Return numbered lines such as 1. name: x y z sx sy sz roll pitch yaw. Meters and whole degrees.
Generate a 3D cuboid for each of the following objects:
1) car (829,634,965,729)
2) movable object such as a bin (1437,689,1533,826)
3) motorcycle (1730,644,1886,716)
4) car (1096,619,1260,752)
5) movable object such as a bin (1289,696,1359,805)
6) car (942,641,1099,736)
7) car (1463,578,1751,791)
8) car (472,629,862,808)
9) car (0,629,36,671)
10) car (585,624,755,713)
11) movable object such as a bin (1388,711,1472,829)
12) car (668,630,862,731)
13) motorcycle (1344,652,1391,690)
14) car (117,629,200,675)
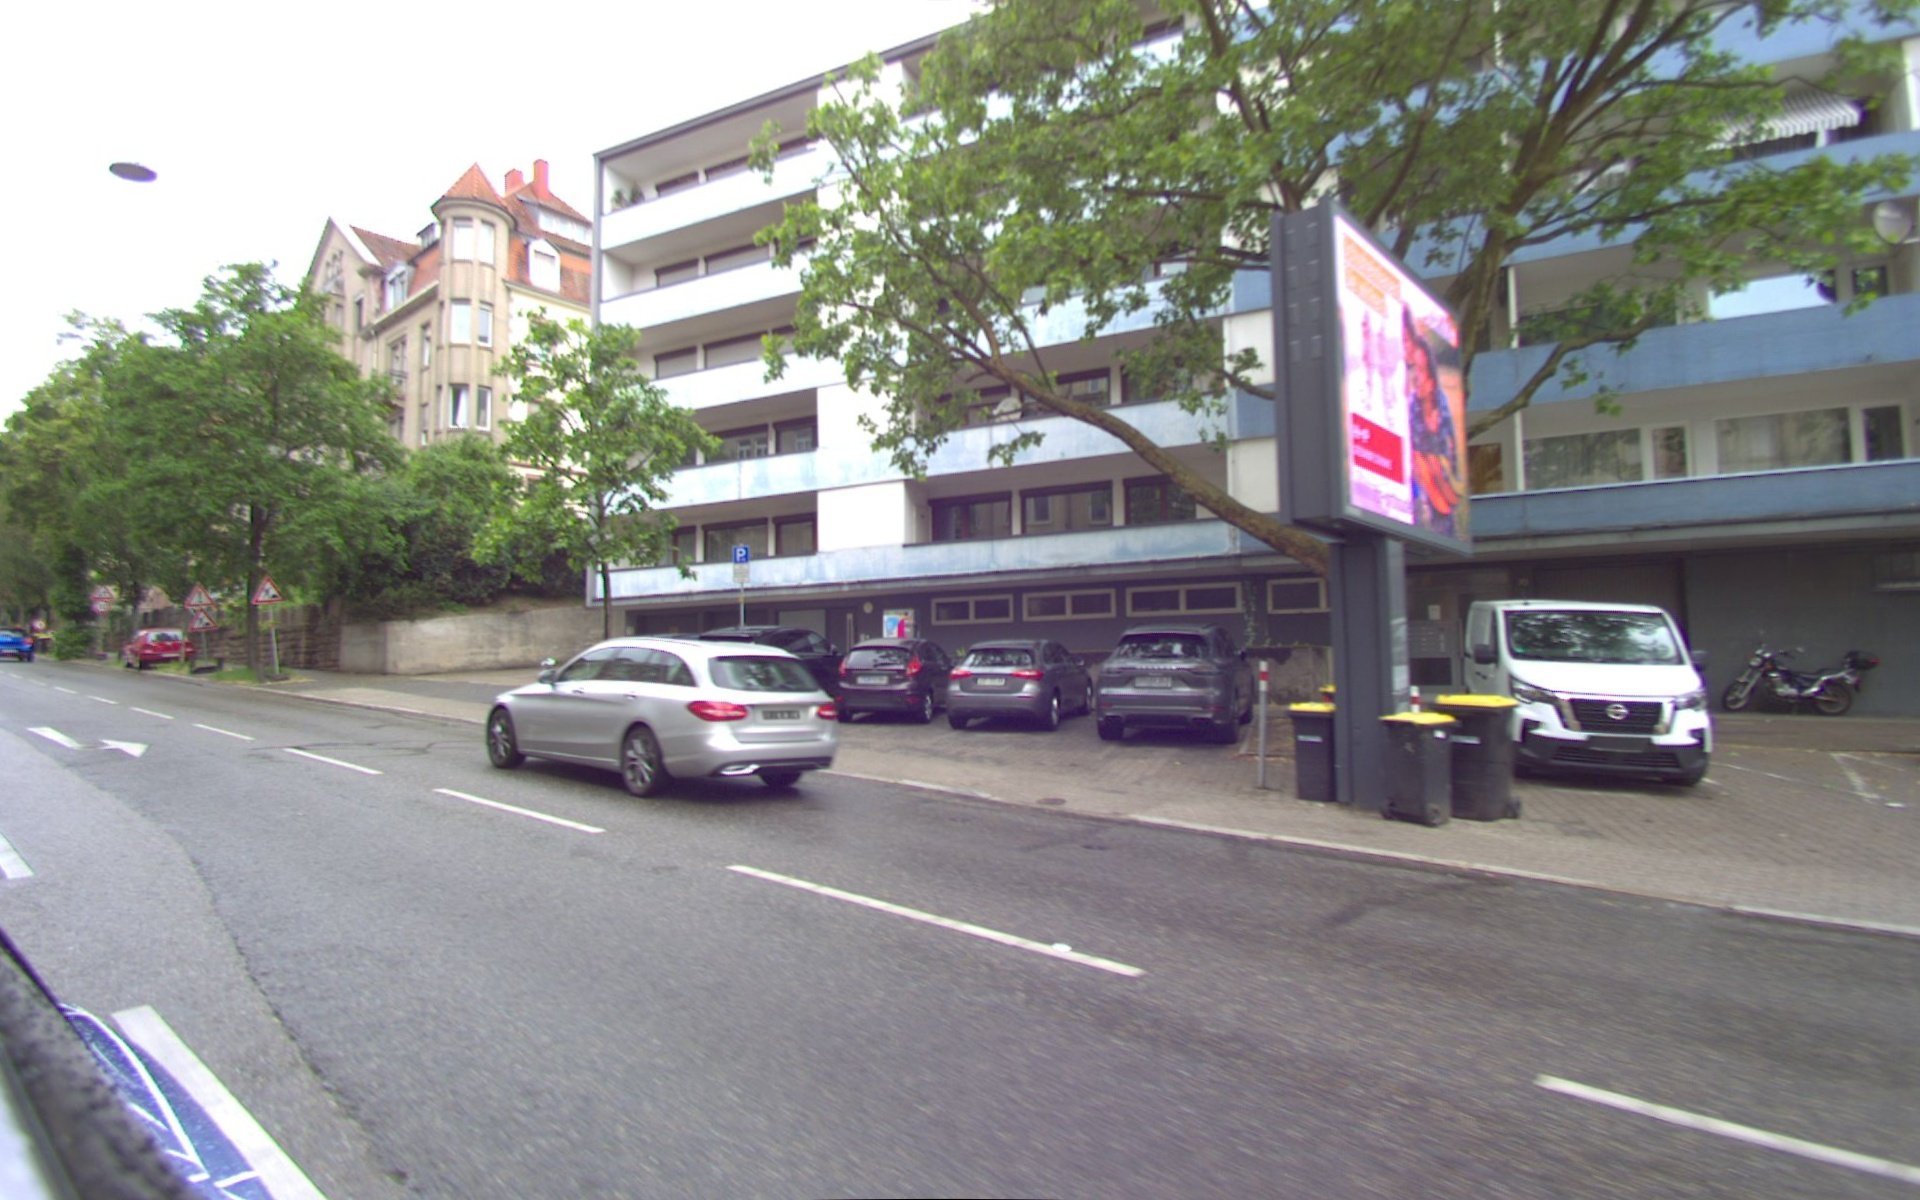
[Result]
1. car: -1.036 1.406 18.619 1.662 1.416 3.824 0 0 10
2. movable object such as a bin: 4.592 1.347 8.852 0.627 1.088 0.635 -2 -3 38
3. motorcycle: 14.684 1.359 17.607 1.954 1.176 0.697 -1 -3 31
4. car: 3.392 1.182 15.207 1.794 1.702 3.808 0 -2 22
5. movable object such as a bin: 3.509 1.427 9.754 0.511 0.971 0.479 -2 -3 38
6. car: 1.146 1.405 17.234 1.678 1.416 3.811 -1 -2 20
7. car: 7.380 0.865 12.138 1.867 1.992 4.942 -1 -2 21
8. car: -3.136 1.094 10.356 4.323 1.459 1.708 -2 -6 41
9. car: -40.798 2.105 43.022 3.885 1.678 1.770 -2 -6 42
10. car: -5.828 1.314 20.799 1.753 1.543 3.821 0 0 13
11. movable object such as a bin: 3.983 1.419 8.582 0.545 0.908 0.479 -2 -3 38
12. car: -3.471 1.379 18.895 1.796 1.605 4.288 0 -1 17
13. motorcycle: 8.168 1.413 20.263 0.423 0.693 1.654 -2 -2 38
14. car: -29.233 1.903 36.876 3.886 1.518 1.729 -2 -6 43
